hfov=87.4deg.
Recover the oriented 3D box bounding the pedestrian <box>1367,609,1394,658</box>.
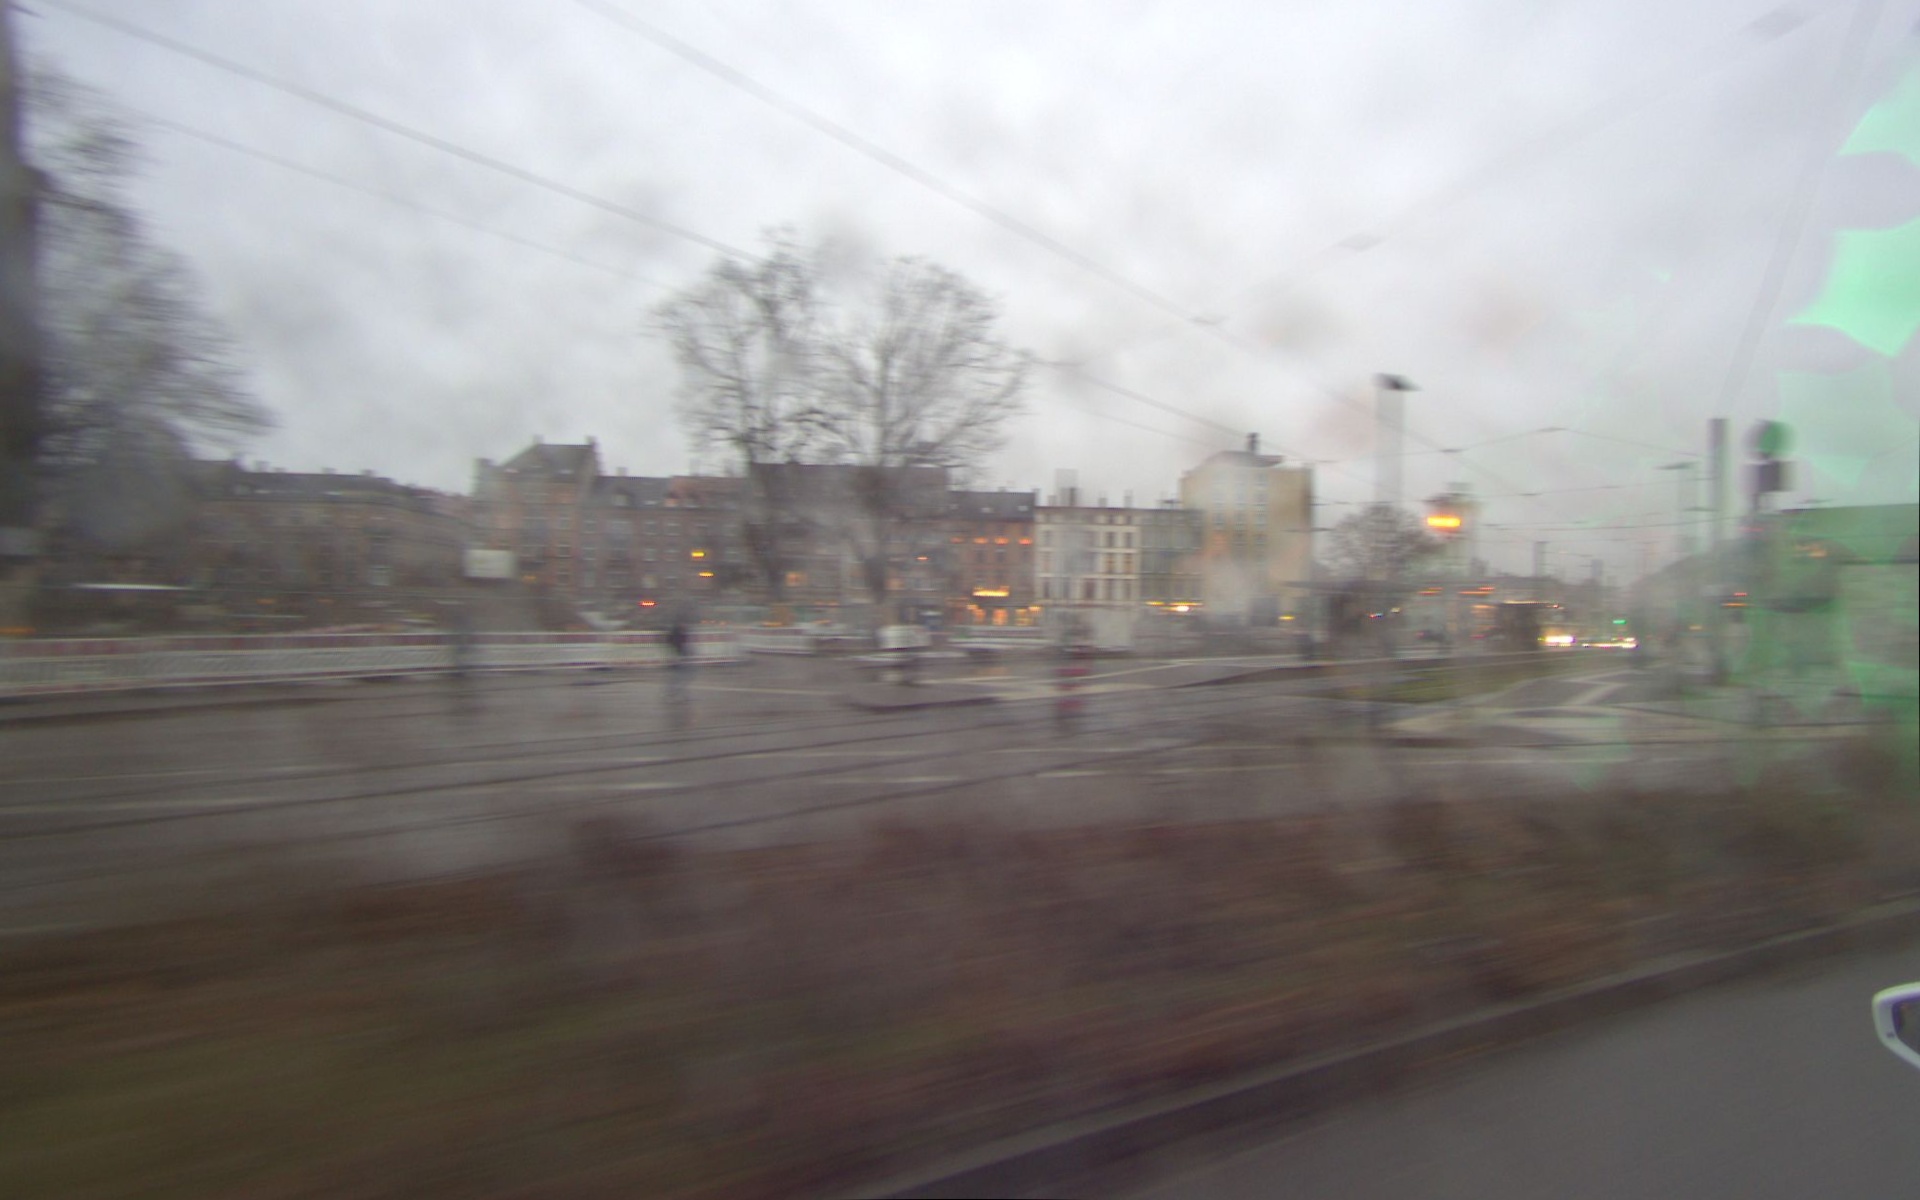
[{"bbox_3d":[16.224,1.286,38.773,0.704,1.830,0.714,2,0,42],"label":"pedestrian"}]

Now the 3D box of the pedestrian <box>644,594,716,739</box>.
[{"bbox_3d":[-4.830,1.125,17.294,1.048,2.402,0.992,3,0,-19],"label":"pedestrian"}]

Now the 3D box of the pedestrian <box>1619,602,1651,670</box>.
[{"bbox_3d":[18.857,0.990,28.061,0.595,1.837,0.822,3,0,39],"label":"pedestrian"}]

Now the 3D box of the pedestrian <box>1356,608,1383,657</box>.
[{"bbox_3d":[15.472,1.223,37.961,0.704,1.830,0.714,2,0,42],"label":"pedestrian"}]

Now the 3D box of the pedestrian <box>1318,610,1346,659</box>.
[{"bbox_3d":[13.657,1.261,36.872,0.704,1.780,0.714,2,0,42],"label":"pedestrian"}]
